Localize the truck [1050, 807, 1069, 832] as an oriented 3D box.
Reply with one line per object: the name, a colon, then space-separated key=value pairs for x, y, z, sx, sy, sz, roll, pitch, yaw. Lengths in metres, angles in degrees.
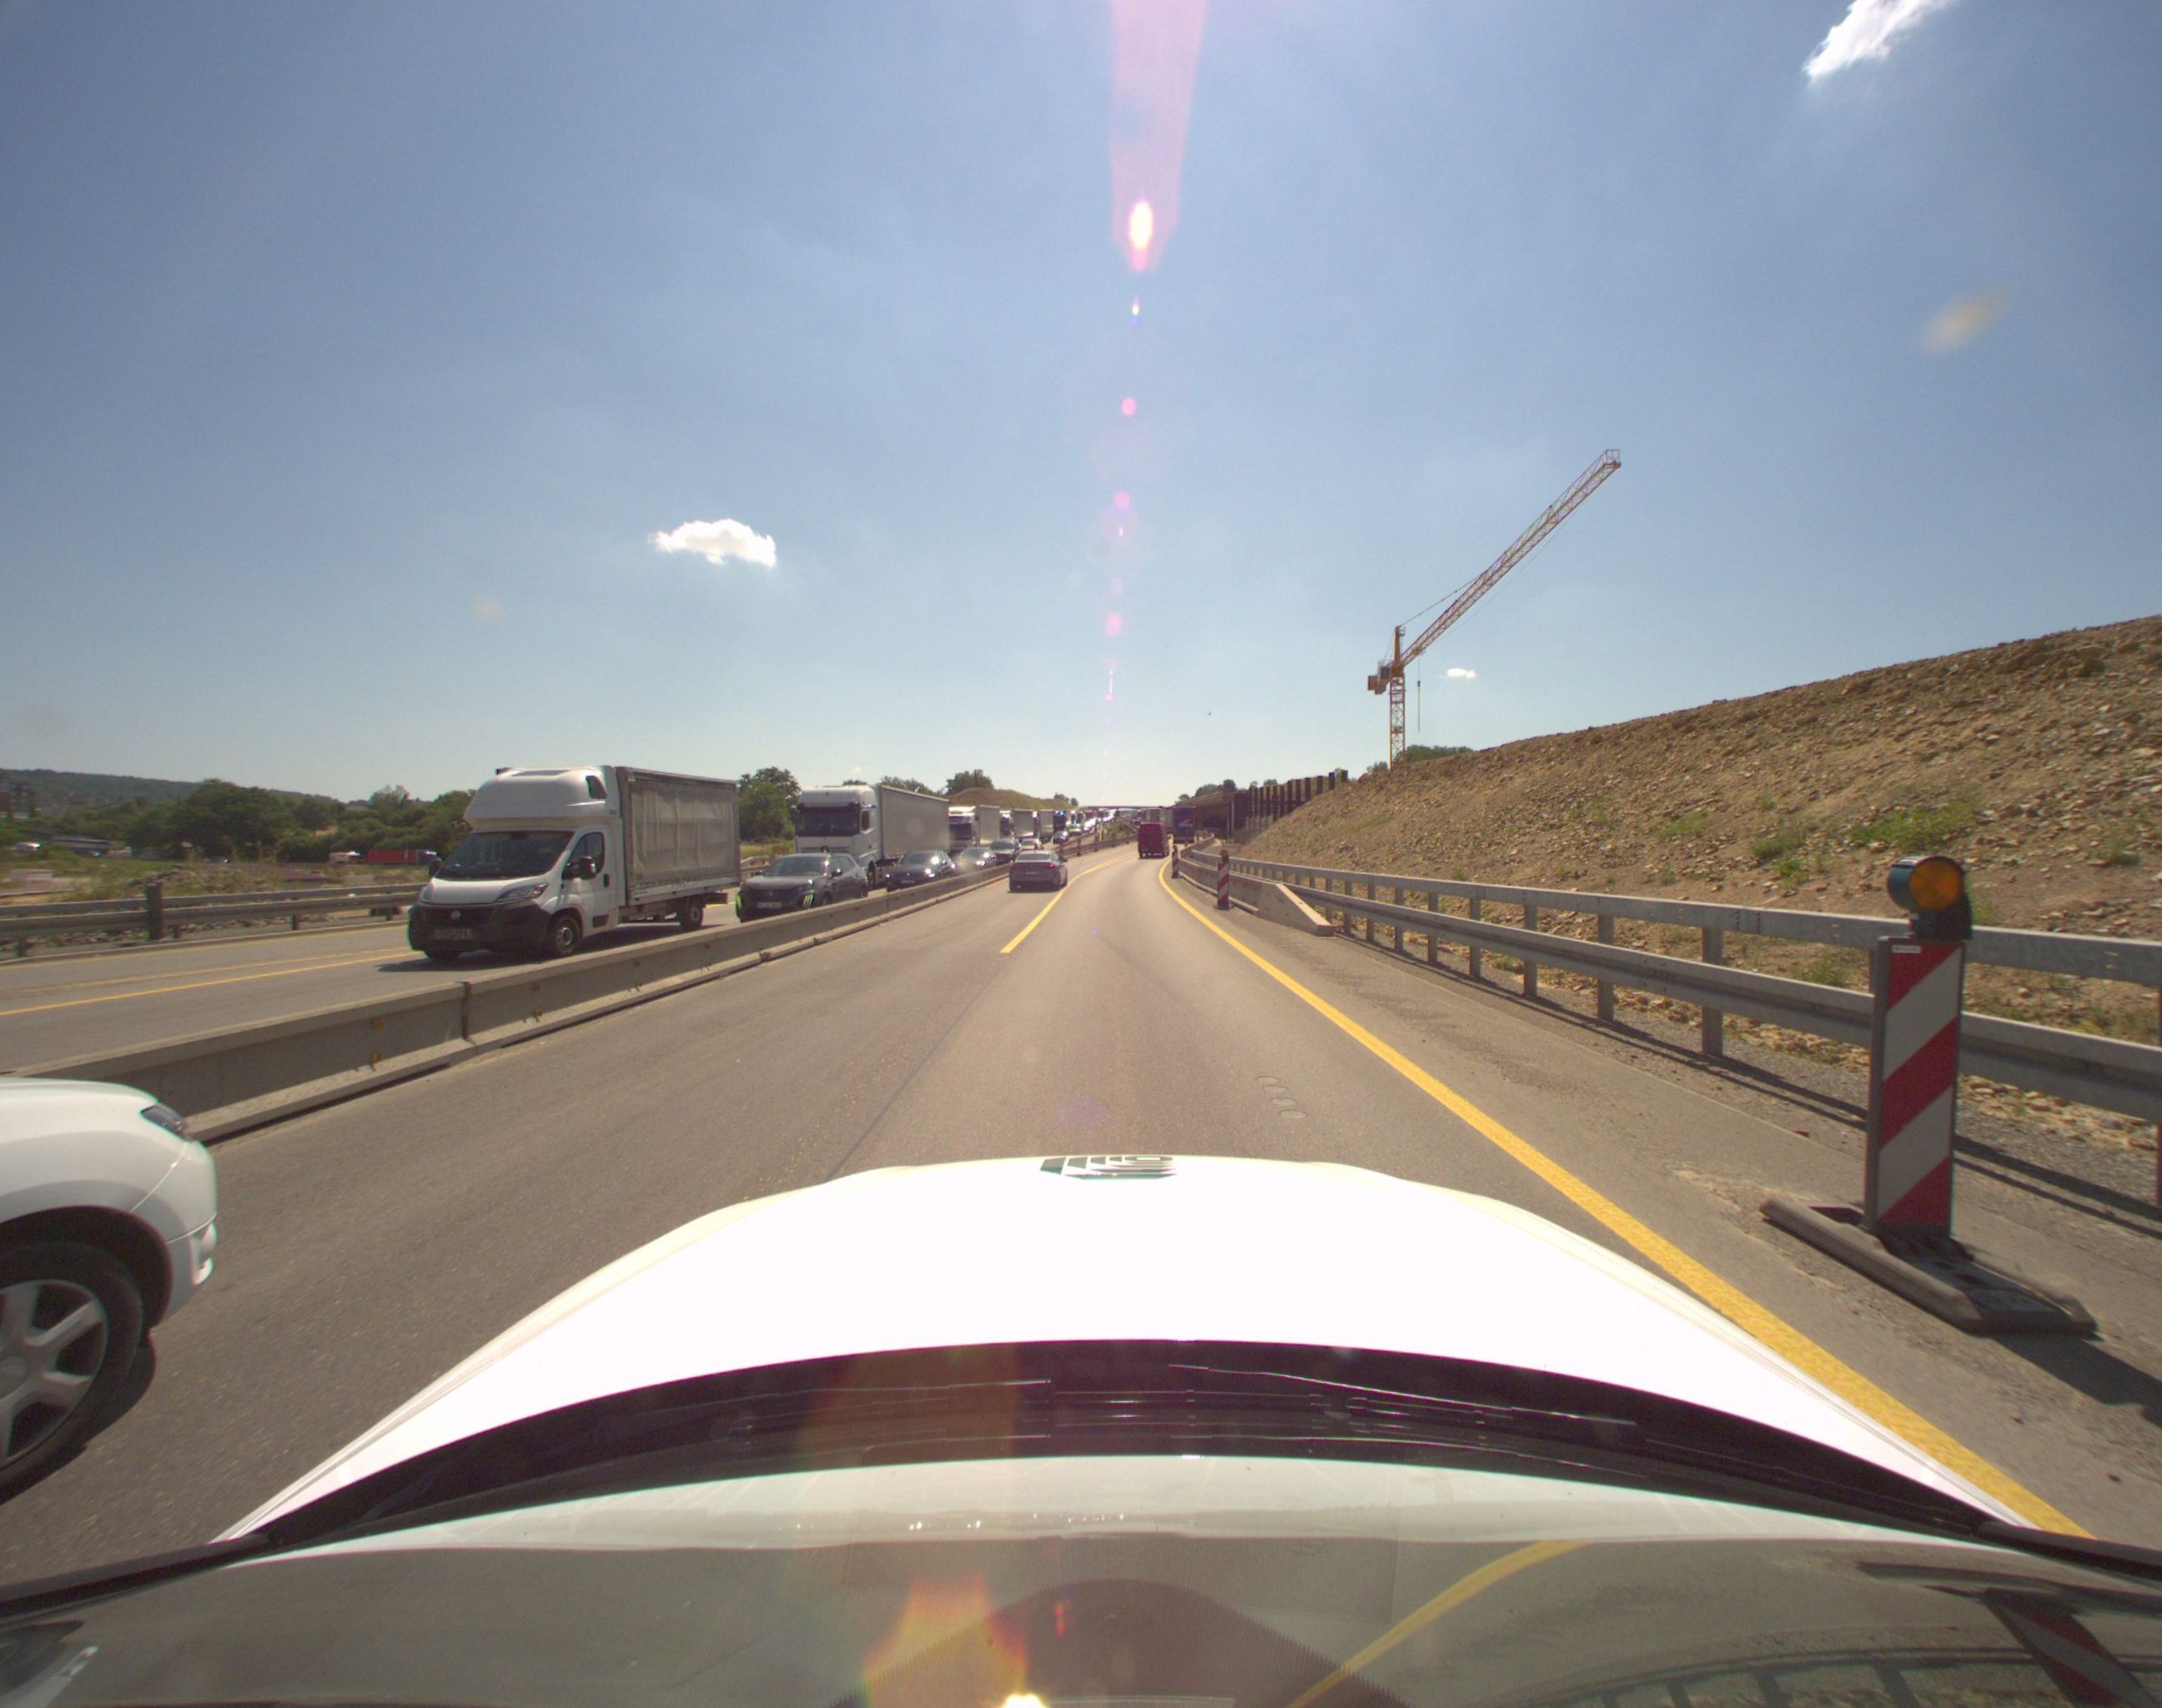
truck: x=-3.474 y=-5.661 z=135.191 sx=2.878 sy=3.839 sz=8.001 roll=-1 pitch=0 yaw=0

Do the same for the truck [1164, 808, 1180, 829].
truck: x=14.599 y=-5.678 z=131.265 sx=2.332 sy=3.192 sz=5.020 roll=-1 pitch=0 yaw=3

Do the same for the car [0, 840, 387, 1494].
car: x=-3.494 y=0.716 z=0.593 sx=1.812 sy=1.530 sz=4.708 roll=-1 pitch=-1 yaw=2

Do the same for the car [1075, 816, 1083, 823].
car: x=-0.515 y=-8.709 z=207.448 sx=1.945 sy=1.530 sz=4.268 roll=-1 pitch=0 yaw=1

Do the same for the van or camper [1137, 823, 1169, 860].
van or camper: x=5.603 y=-0.941 z=62.927 sx=2.017 sy=2.744 sz=4.528 roll=-1 pitch=0 yaw=10

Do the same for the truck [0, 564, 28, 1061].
truck: x=-9.731 y=-0.331 z=2.143 sx=2.516 sy=3.856 sz=8.673 roll=-1 pitch=0 yaw=1

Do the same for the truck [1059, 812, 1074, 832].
truck: x=-2.957 y=-6.535 z=166.669 sx=2.878 sy=3.839 sz=8.001 roll=-1 pitch=0 yaw=0

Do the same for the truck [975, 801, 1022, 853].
truck: x=-7.361 y=-2.361 z=73.693 sx=3.038 sy=4.480 sz=5.988 roll=-1 pitch=1 yaw=5

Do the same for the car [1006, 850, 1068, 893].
car: x=-1.525 y=0.636 z=30.183 sx=1.844 sy=1.452 sz=4.744 roll=-1 pitch=-1 yaw=2

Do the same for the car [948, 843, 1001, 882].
car: x=-5.159 y=0.392 z=39.868 sx=1.986 sy=1.783 sz=4.001 roll=-1 pitch=0 yaw=1

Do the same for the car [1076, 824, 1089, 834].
car: x=0.236 y=-4.161 z=137.718 sx=1.945 sy=1.530 sz=4.269 roll=-1 pitch=0 yaw=2

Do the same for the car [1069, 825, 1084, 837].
car: x=-0.622 y=-3.413 z=120.651 sx=1.945 sy=1.530 sz=4.269 roll=-1 pitch=0 yaw=2

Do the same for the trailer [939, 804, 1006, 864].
trailer: x=-7.711 y=-1.252 z=59.526 sx=2.771 sy=3.932 sz=11.016 roll=-1 pitch=-1 yaw=3

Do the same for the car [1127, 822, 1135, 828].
car: x=13.275 y=-7.615 z=215.203 sx=1.945 sy=1.530 sz=4.269 roll=-1 pitch=-1 yaw=2

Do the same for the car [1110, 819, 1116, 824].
car: x=9.734 y=-9.902 z=249.385 sx=1.945 sy=1.530 sz=4.269 roll=-1 pitch=0 yaw=2

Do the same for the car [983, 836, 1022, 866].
car: x=-4.916 y=-0.188 z=51.339 sx=1.986 sy=1.783 sz=4.001 roll=-1 pitch=0 yaw=1

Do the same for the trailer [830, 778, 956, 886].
trailer: x=-8.465 y=-0.876 z=38.772 sx=2.584 sy=4.257 sz=12.474 roll=-1 pitch=0 yaw=2

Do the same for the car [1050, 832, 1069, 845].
car: x=-2.564 y=-1.855 z=98.493 sx=1.945 sy=1.530 sz=4.269 roll=-1 pitch=0 yaw=2

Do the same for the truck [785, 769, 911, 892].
truck: x=-8.777 y=-0.830 z=31.566 sx=2.540 sy=4.231 sz=6.537 roll=-1 pitch=0 yaw=4

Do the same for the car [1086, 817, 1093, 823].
car: x=2.405 y=-9.822 z=238.619 sx=1.945 sy=1.530 sz=4.268 roll=-1 pitch=0 yaw=1

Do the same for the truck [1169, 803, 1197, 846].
truck: x=11.968 y=-3.311 z=95.287 sx=3.004 sy=4.693 sz=6.947 roll=-2 pitch=0 yaw=7

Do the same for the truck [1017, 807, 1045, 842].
truck: x=-5.750 y=-3.333 z=94.807 sx=2.674 sy=3.839 sz=7.385 roll=-1 pitch=0 yaw=0

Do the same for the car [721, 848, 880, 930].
car: x=-6.148 y=0.689 z=18.487 sx=1.820 sy=1.535 sz=4.548 roll=-3 pitch=0 yaw=2

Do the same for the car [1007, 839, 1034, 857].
car: x=-4.931 y=-0.445 z=66.767 sx=1.740 sy=1.409 sz=4.002 roll=-1 pitch=0 yaw=2

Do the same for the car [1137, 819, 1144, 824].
car: x=18.252 y=-10.002 z=251.592 sx=1.945 sy=1.530 sz=4.269 roll=-1 pitch=0 yaw=2

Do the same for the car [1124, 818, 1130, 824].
car: x=14.585 y=-10.498 z=257.571 sx=1.945 sy=1.641 sz=4.269 roll=-1 pitch=0 yaw=2

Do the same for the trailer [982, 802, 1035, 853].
trailer: x=-6.874 y=-2.421 z=79.230 sx=3.028 sy=4.552 sz=12.143 roll=-1 pitch=0 yaw=5

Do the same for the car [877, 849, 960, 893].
car: x=-5.826 y=0.576 z=29.736 sx=1.895 sy=1.376 sz=4.548 roll=-3 pitch=0 yaw=2

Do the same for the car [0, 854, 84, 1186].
car: x=-6.375 y=0.788 z=2.101 sx=1.820 sy=1.651 sz=4.548 roll=3 pitch=0 yaw=2

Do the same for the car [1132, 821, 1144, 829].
car: x=13.103 y=-6.717 z=187.356 sx=2.284 sy=1.530 sz=4.351 roll=-1 pitch=0 yaw=-4

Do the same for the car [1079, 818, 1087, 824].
car: x=0.499 y=-8.623 z=214.106 sx=1.945 sy=1.530 sz=4.268 roll=-1 pitch=0 yaw=1

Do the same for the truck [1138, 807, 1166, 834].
truck: x=15.277 y=-7.031 z=176.202 sx=5.140 sy=4.997 sz=13.884 roll=-3 pitch=0 yaw=3

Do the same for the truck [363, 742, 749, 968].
truck: x=-8.882 y=-0.020 z=15.073 sx=2.425 sy=3.148 sz=7.024 roll=-1 pitch=1 yaw=1

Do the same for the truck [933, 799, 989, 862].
truck: x=-7.920 y=-1.472 z=54.436 sx=2.772 sy=3.870 sz=5.462 roll=-1 pitch=-1 yaw=2

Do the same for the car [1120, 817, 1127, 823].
car: x=12.479 y=-10.039 z=240.850 sx=1.945 sy=1.530 sz=4.269 roll=-1 pitch=0 yaw=2
